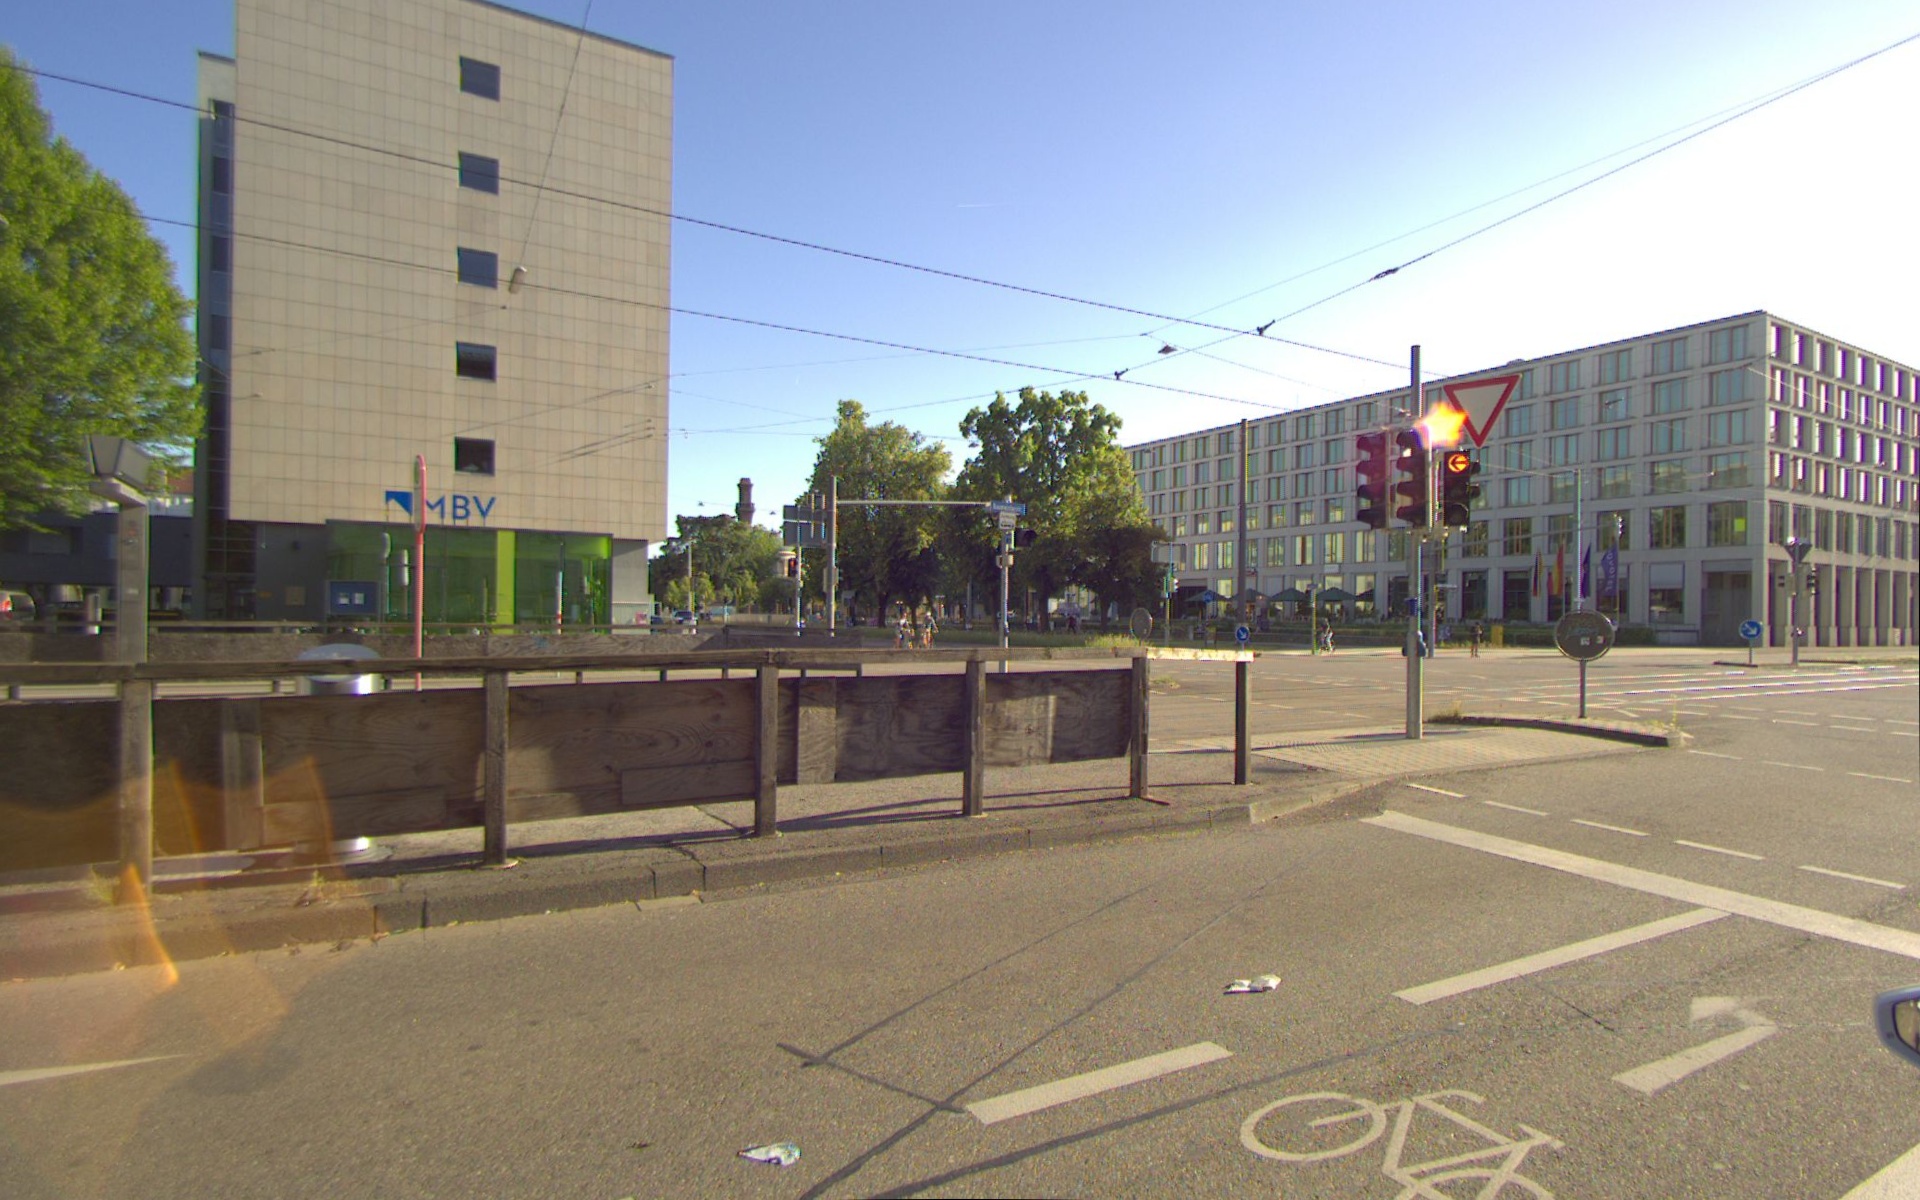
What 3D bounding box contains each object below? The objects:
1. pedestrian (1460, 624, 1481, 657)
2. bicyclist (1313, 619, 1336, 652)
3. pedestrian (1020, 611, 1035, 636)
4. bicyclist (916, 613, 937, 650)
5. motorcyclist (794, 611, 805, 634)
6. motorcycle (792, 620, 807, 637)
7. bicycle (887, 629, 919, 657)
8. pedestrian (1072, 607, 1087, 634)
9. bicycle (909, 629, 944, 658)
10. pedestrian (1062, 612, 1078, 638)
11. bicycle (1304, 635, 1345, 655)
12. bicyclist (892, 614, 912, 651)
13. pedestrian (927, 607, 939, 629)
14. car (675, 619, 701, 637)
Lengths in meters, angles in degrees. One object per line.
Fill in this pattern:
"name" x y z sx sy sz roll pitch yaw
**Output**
"pedestrian" 24.921 1.984 49.056 0.586 1.610 0.768 1 -1 -41
"bicyclist" 17.910 1.734 49.351 0.765 1.610 0.759 1 -1 -15
"pedestrian" 5.363 1.836 79.589 0.863 1.925 0.713 2 0 -25
"bicyclist" -1.403 1.335 42.452 0.602 1.544 0.709 1 -1 -32
"motorcyclist" -11.336 1.614 71.058 0.561 1.598 0.642 1 -1 -34
"motorcycle" -11.352 2.028 71.081 0.524 1.153 1.449 1 -1 -34
"bicycle" -2.407 1.792 42.248 0.574 1.148 1.776 1 -1 -31
"pedestrian" 9.174 1.585 76.995 0.812 2.040 0.841 2 0 -20
"bicycle" -1.429 1.821 42.492 0.616 1.148 1.869 1 -1 -31
"pedestrian" 8.298 1.906 75.768 0.861 1.925 0.714 2 0 -20
"bicycle" 17.915 2.197 49.338 1.834 0.947 0.760 1 -1 -18
"bicyclist" -2.444 1.376 42.334 0.647 1.544 0.615 1 -1 -32
"pedestrian" -2.525 1.655 94.369 0.816 2.040 0.837 2 0 -32
"car" -26.029 2.659 96.121 1.611 1.639 3.623 2 0 -28
